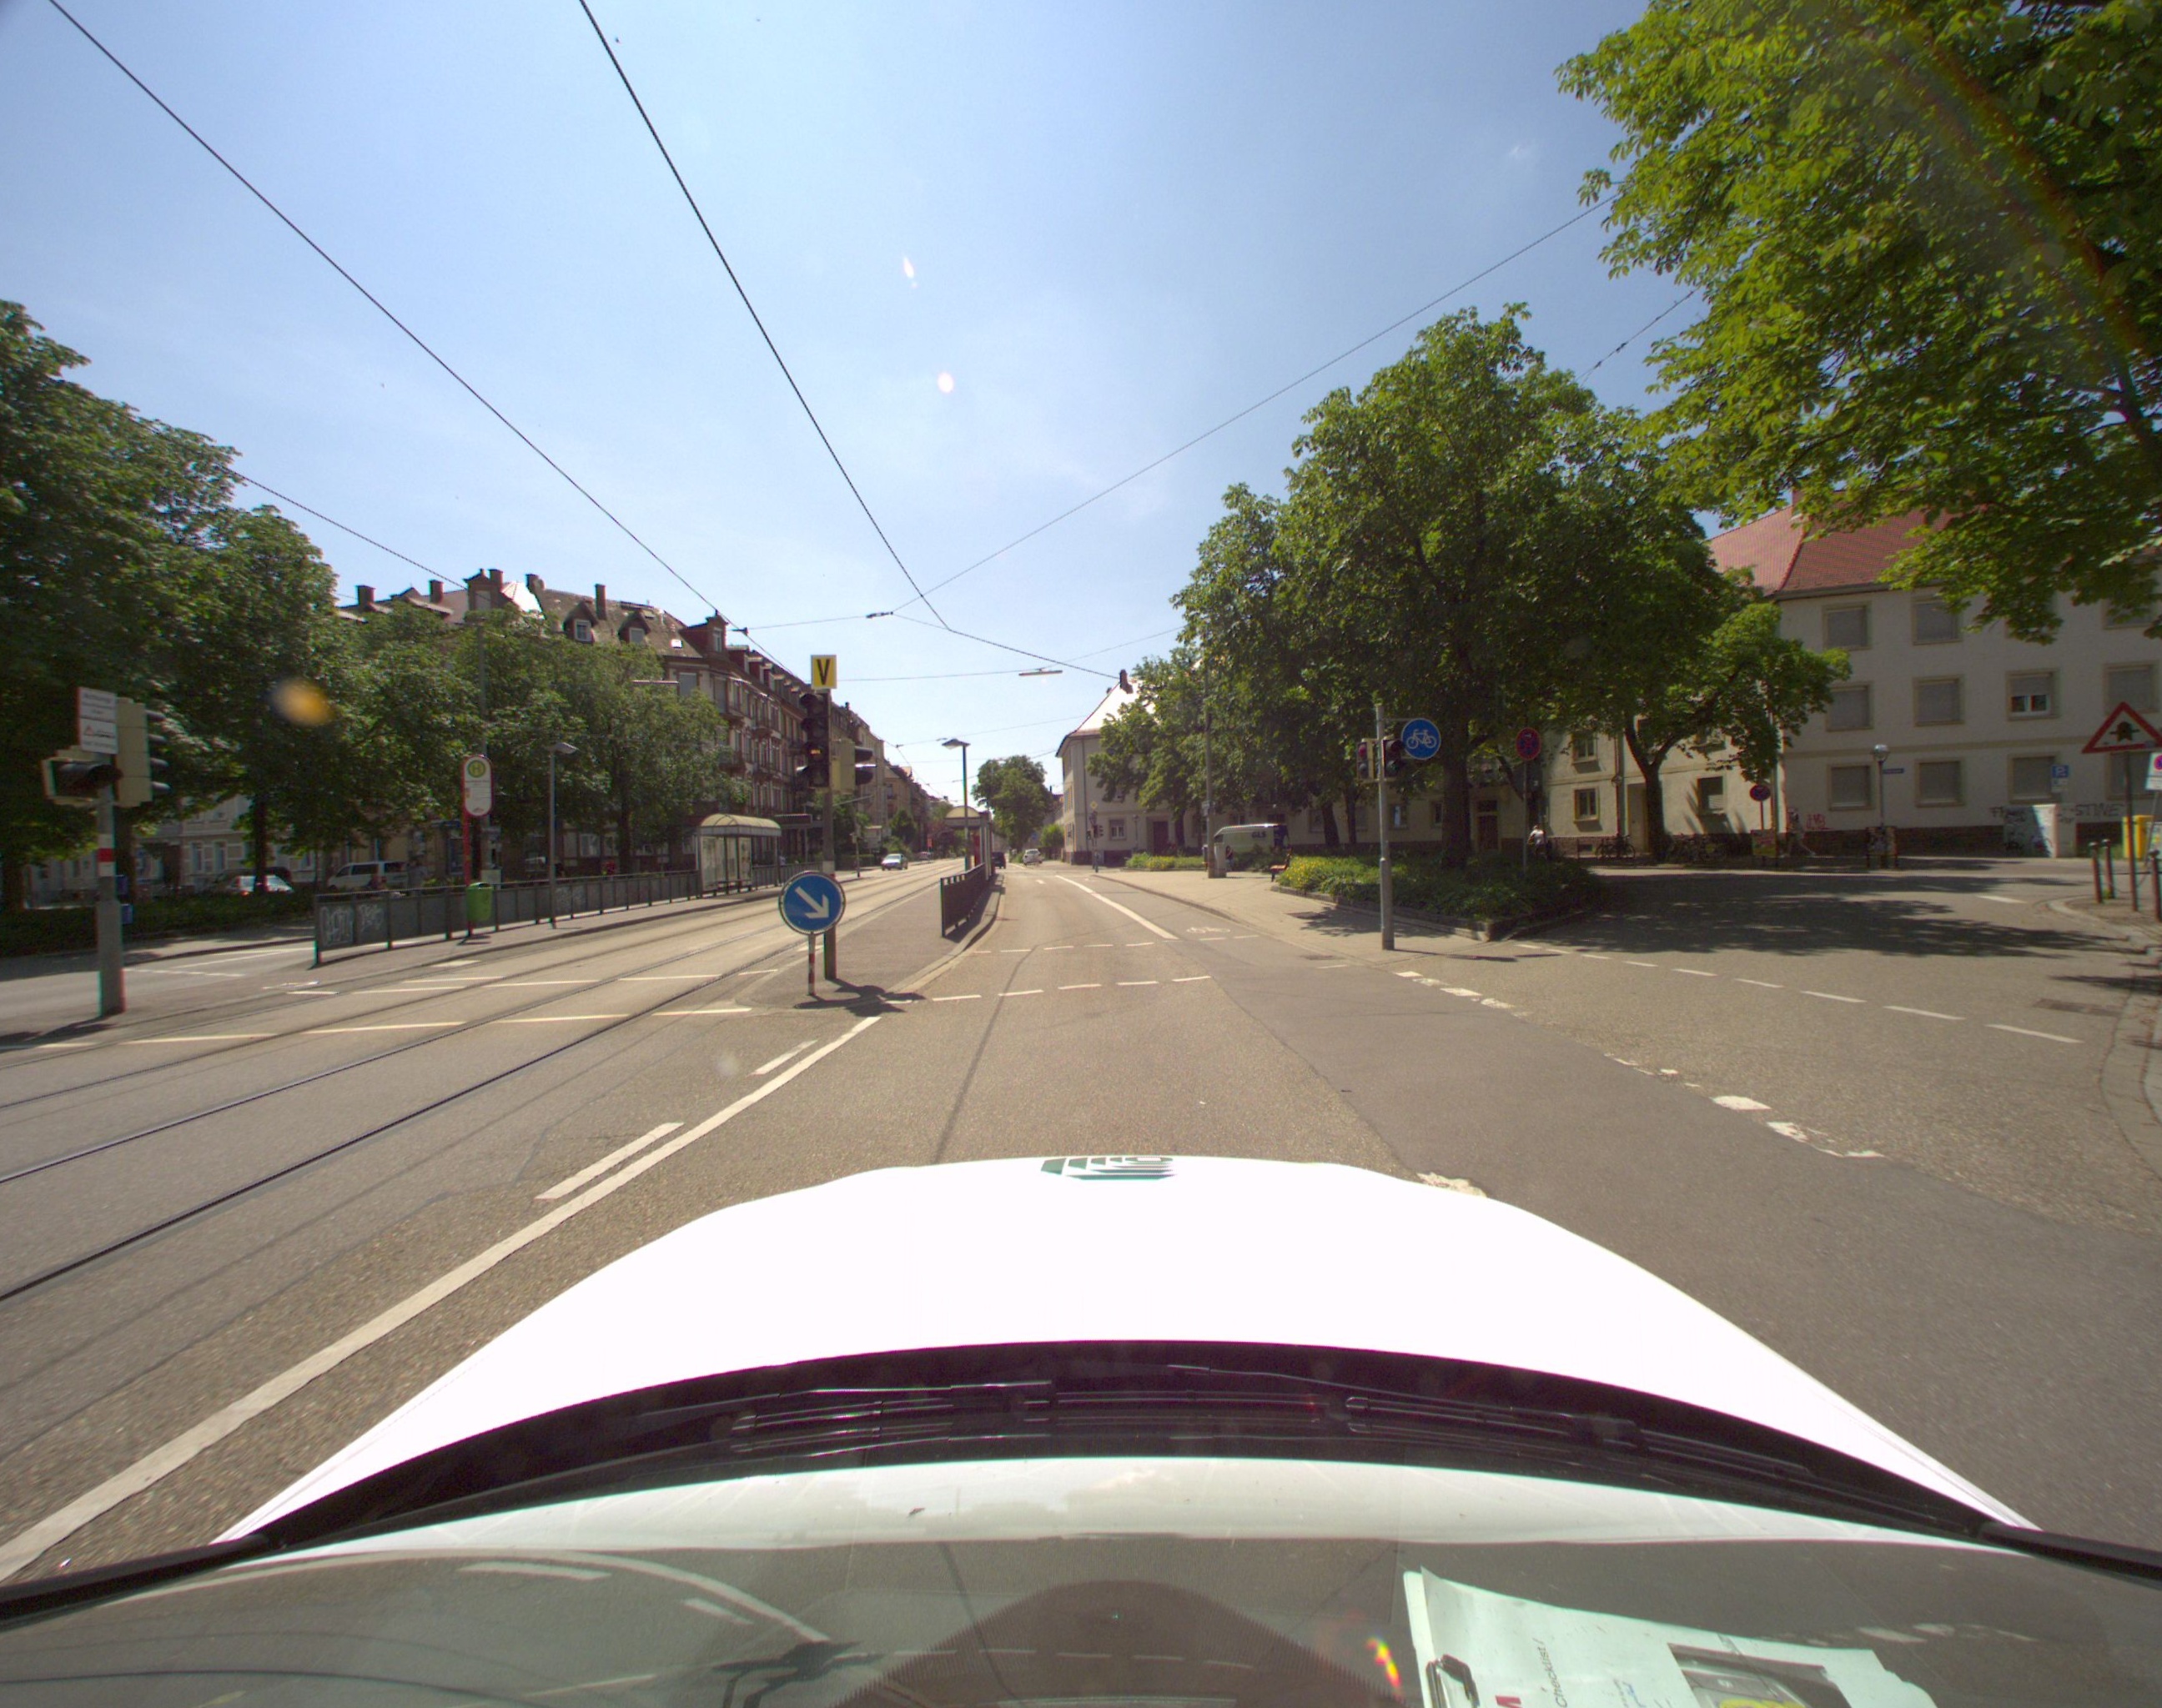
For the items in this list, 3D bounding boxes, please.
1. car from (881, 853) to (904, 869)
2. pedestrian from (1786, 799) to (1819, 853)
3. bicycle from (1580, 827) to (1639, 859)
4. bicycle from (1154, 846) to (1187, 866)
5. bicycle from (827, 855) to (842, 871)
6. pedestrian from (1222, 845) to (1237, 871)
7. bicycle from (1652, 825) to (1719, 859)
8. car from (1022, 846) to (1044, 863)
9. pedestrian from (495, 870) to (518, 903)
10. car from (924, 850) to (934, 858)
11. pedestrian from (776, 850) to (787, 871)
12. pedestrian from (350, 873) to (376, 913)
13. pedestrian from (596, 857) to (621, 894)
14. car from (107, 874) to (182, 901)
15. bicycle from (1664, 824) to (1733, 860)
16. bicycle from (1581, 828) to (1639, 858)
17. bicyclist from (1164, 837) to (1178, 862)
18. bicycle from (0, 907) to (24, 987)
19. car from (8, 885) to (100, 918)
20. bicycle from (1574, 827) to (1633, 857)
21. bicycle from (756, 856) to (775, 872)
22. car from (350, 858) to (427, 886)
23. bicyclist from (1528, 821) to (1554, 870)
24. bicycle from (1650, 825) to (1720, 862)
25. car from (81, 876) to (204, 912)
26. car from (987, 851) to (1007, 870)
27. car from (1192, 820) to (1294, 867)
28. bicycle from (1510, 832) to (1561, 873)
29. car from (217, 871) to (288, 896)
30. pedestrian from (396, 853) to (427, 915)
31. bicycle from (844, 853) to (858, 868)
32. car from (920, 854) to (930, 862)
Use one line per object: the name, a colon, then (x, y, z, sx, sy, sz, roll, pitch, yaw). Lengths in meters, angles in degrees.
car: (-16.933, 0.590, 73.319, 1.539, 1.338, 3.710, -1, 0, -7)
pedestrian: (27.204, -1.043, 30.706, 0.797, 2.013, 0.778, -2, 0, 34)
bicycle: (23.884, -0.494, 36.848, 2.225, 1.347, 0.516, -1, 0, 5)
bicycle: (5.809, 0.141, 52.888, 2.061, 1.236, 0.584, -1, 0, 27)
bicycle: (-21.970, 0.779, 72.521, 0.618, 1.395, 2.284, -1, 0, -32)
pedestrian: (6.449, 0.171, 35.298, 0.508, 1.092, 0.478, -4, 1, 0)
bicycle: (24.124, -0.466, 32.530, 2.141, 1.300, 0.548, -1, 0, 5)
car: (-4.653, 0.046, 78.795, 1.745, 1.472, 3.929, -5, 0, -6)
pedestrian: (-23.269, 1.313, 32.998, 0.638, 1.287, 0.622, -2, 0, 44)
car: (-30.414, 0.001, 163.012, 1.628, 1.472, 3.554, -5, 0, -8)
pedestrian: (-22.779, 0.498, 61.919, 0.463, 1.615, 0.658, 2, 2, 42)
pedestrian: (-23.232, 1.259, 26.351, 0.638, 1.256, 0.553, -2, 0, 44)
pedestrian: (-20.806, 0.936, 35.886, 0.679, 1.605, 0.770, -1, 0, -9)
car: (-60.987, 2.169, 53.058, 3.954, 1.618, 1.768, -2, 1, 18)
bicycle: (24.015, -0.459, 31.679, 2.141, 1.300, 0.548, -1, 0, 5)
bicycle: (23.563, -0.492, 36.303, 2.141, 1.300, 0.548, -1, 0, 5)
bicyclist: (5.858, -0.297, 52.867, 0.687, 1.646, 0.584, -2, 0, 28)
bicycle: (-16.116, 1.395, 11.224, 0.627, 1.157, 1.974, -1, 1, -6)
car: (-48.989, 2.266, 38.853, 3.699, 1.442, 1.549, -1, 0, 18)
bicycle: (23.974, -0.546, 37.382, 2.309, 1.344, 0.516, -1, 0, 5)
bicycle: (-24.598, 0.762, 63.552, 0.360, 1.169, 1.529, 0, 1, 29)
car: (-39.057, 1.019, 45.945, 3.699, 1.442, 1.549, -1, 0, 18)
bicyclist: (17.264, -0.326, 30.567, 0.601, 1.799, 0.533, -1, 0, -5)
bicycle: (22.892, -0.395, 30.889, 2.141, 1.300, 0.548, -1, 0, 5)
car: (-41.862, 1.786, 36.367, 3.714, 1.442, 1.542, -1, 0, 2)
car: (-6.926, 0.494, 67.370, 1.523, 1.444, 3.358, -4, 0, -5)
car: (9.630, -0.592, 48.857, 5.777, 2.589, 2.012, -1, 1, 45)
bicycle: (17.241, -0.066, 30.973, 0.590, 1.485, 2.165, -1, 0, -4)
car: (-50.625, 1.800, 49.751, 3.699, 1.442, 1.549, -1, 0, 18)
pedestrian: (-20.547, 0.913, 25.008, 0.509, 1.879, 0.493, -1, 0, -1)
bicycle: (-22.260, 0.636, 78.883, 0.595, 1.356, 2.415, -1, 0, -32)
car: (-29.605, 0.747, 154.635, 1.683, 1.472, 3.927, -5, 0, -8)
